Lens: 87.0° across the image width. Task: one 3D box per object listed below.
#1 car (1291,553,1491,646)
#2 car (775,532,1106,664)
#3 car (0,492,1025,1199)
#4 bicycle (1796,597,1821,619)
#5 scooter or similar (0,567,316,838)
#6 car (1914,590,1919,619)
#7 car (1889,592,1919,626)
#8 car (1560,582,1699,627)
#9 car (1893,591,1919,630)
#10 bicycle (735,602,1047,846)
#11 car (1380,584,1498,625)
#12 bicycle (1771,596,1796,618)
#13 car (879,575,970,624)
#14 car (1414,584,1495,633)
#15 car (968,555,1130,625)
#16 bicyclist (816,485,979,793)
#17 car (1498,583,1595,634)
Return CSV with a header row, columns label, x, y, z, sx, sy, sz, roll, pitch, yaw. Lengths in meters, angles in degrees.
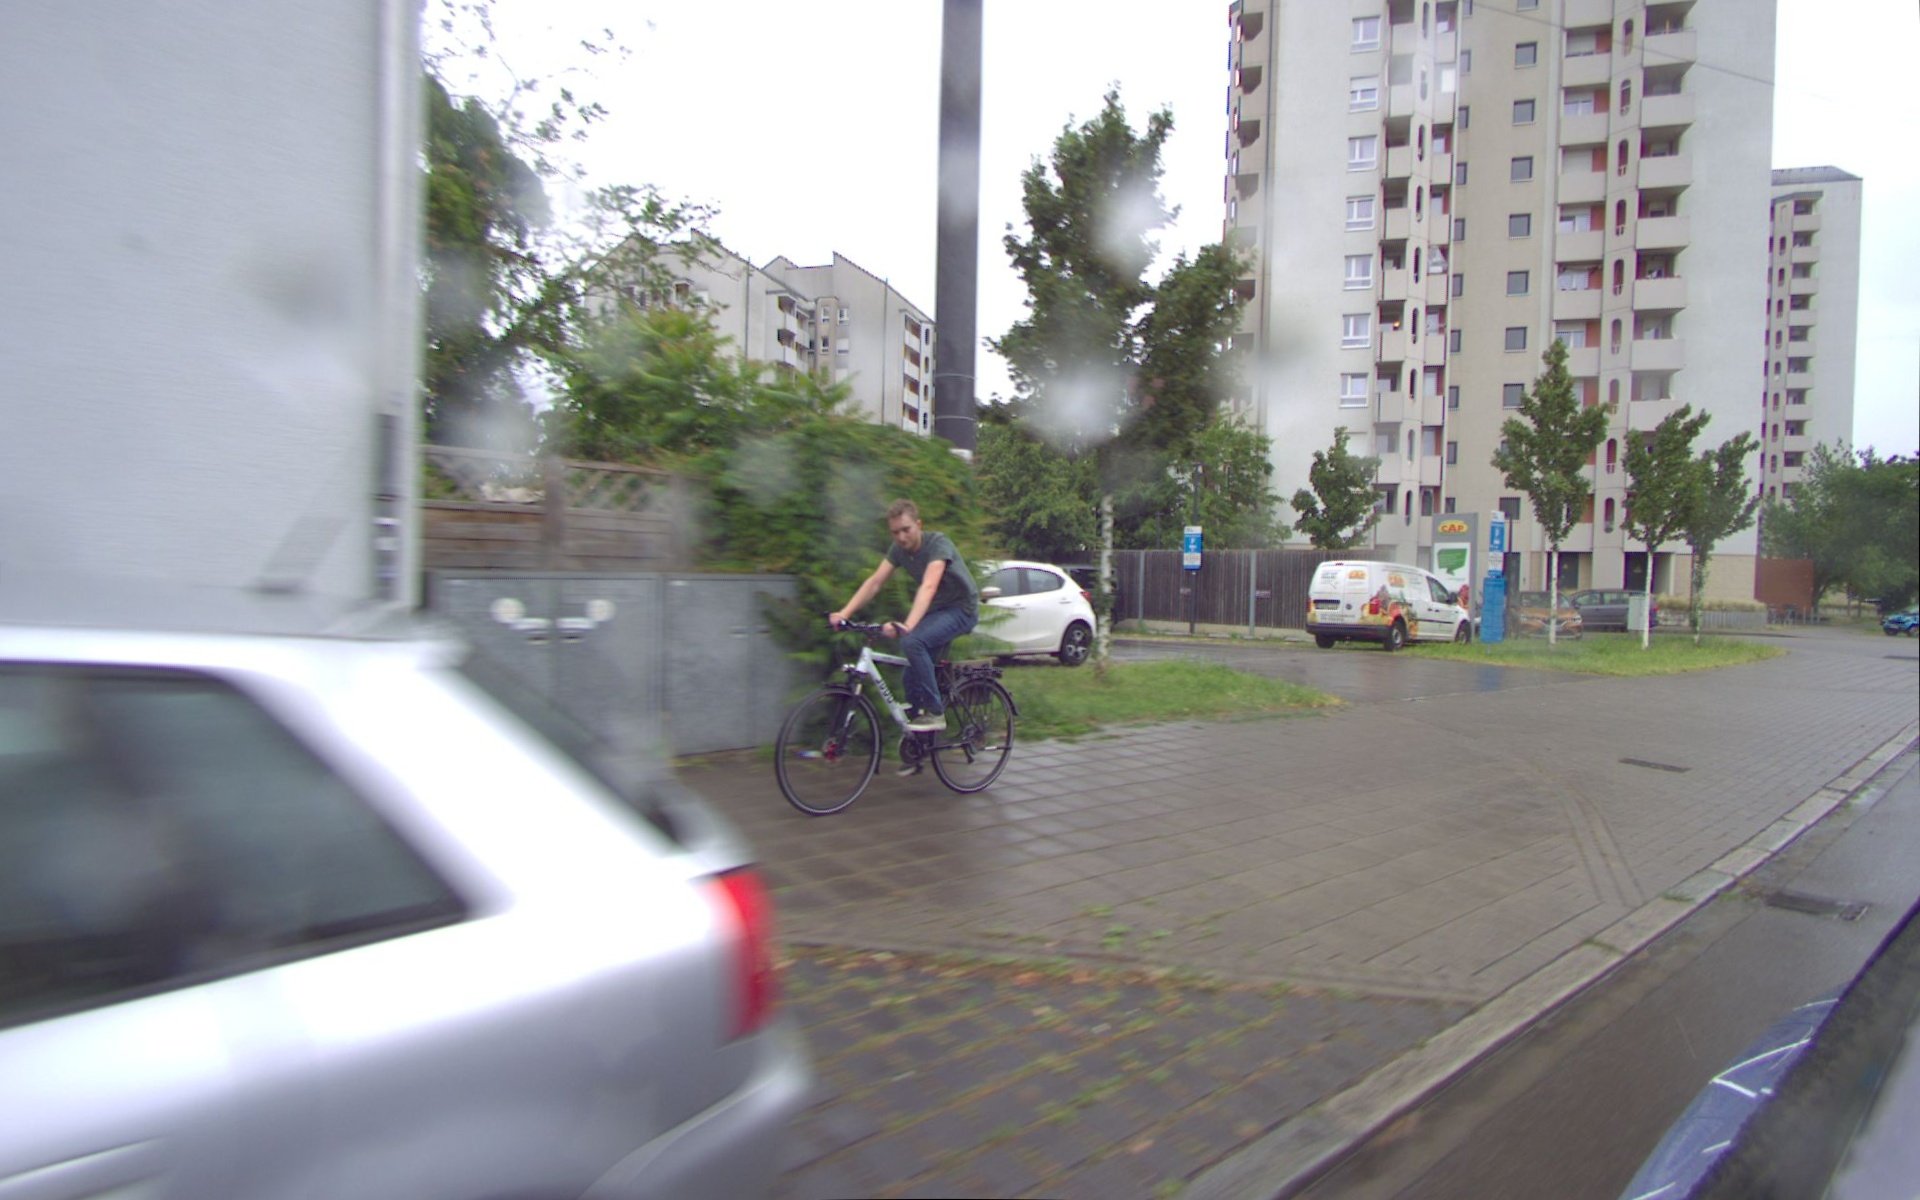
label,x,y,z,sx,sy,sz,roll,pitch,yaw
car,9.418,-0.008,21.931,4.808,1.806,1.968,1,0,-39
car,-0.179,-0.020,14.076,4.284,1.554,1.968,1,0,-39
car,-2.185,0.573,0.948,4.567,1.422,1.655,-1,6,-40
bicycle,41.156,0.378,49.080,2.023,1.018,0.662,-1,1,-42
scooter or similar,-3.668,0.408,4.476,1.369,1.098,0.334,-1,1,-35
car,58.383,0.452,58.442,4.390,1.692,1.808,4,2,10
car,47.461,0.550,48.370,4.117,1.566,1.761,4,2,9
car,25.354,0.157,38.476,4.059,1.637,1.804,0,0,19
car,40.938,0.448,42.163,2.522,1.567,1.600,2,2,8
bicycle,-0.307,0.589,5.676,0.536,1.106,1.919,1,1,42
car,19.158,0.167,40.659,4.059,1.553,1.804,0,0,19
bicycle,40.564,0.334,49.846,2.023,1.018,0.662,-1,1,-42
car,-1.061,-0.070,32.346,1.750,1.460,3.980,0,1,16
car,16.157,0.239,33.263,1.975,1.459,3.974,0,1,20
car,2.668,-0.256,29.675,4.692,1.893,1.968,1,0,-39
bicyclist,-0.340,0.190,5.649,0.533,1.579,0.761,1,1,42
car,18.323,0.217,31.810,1.975,1.459,3.974,0,1,20
